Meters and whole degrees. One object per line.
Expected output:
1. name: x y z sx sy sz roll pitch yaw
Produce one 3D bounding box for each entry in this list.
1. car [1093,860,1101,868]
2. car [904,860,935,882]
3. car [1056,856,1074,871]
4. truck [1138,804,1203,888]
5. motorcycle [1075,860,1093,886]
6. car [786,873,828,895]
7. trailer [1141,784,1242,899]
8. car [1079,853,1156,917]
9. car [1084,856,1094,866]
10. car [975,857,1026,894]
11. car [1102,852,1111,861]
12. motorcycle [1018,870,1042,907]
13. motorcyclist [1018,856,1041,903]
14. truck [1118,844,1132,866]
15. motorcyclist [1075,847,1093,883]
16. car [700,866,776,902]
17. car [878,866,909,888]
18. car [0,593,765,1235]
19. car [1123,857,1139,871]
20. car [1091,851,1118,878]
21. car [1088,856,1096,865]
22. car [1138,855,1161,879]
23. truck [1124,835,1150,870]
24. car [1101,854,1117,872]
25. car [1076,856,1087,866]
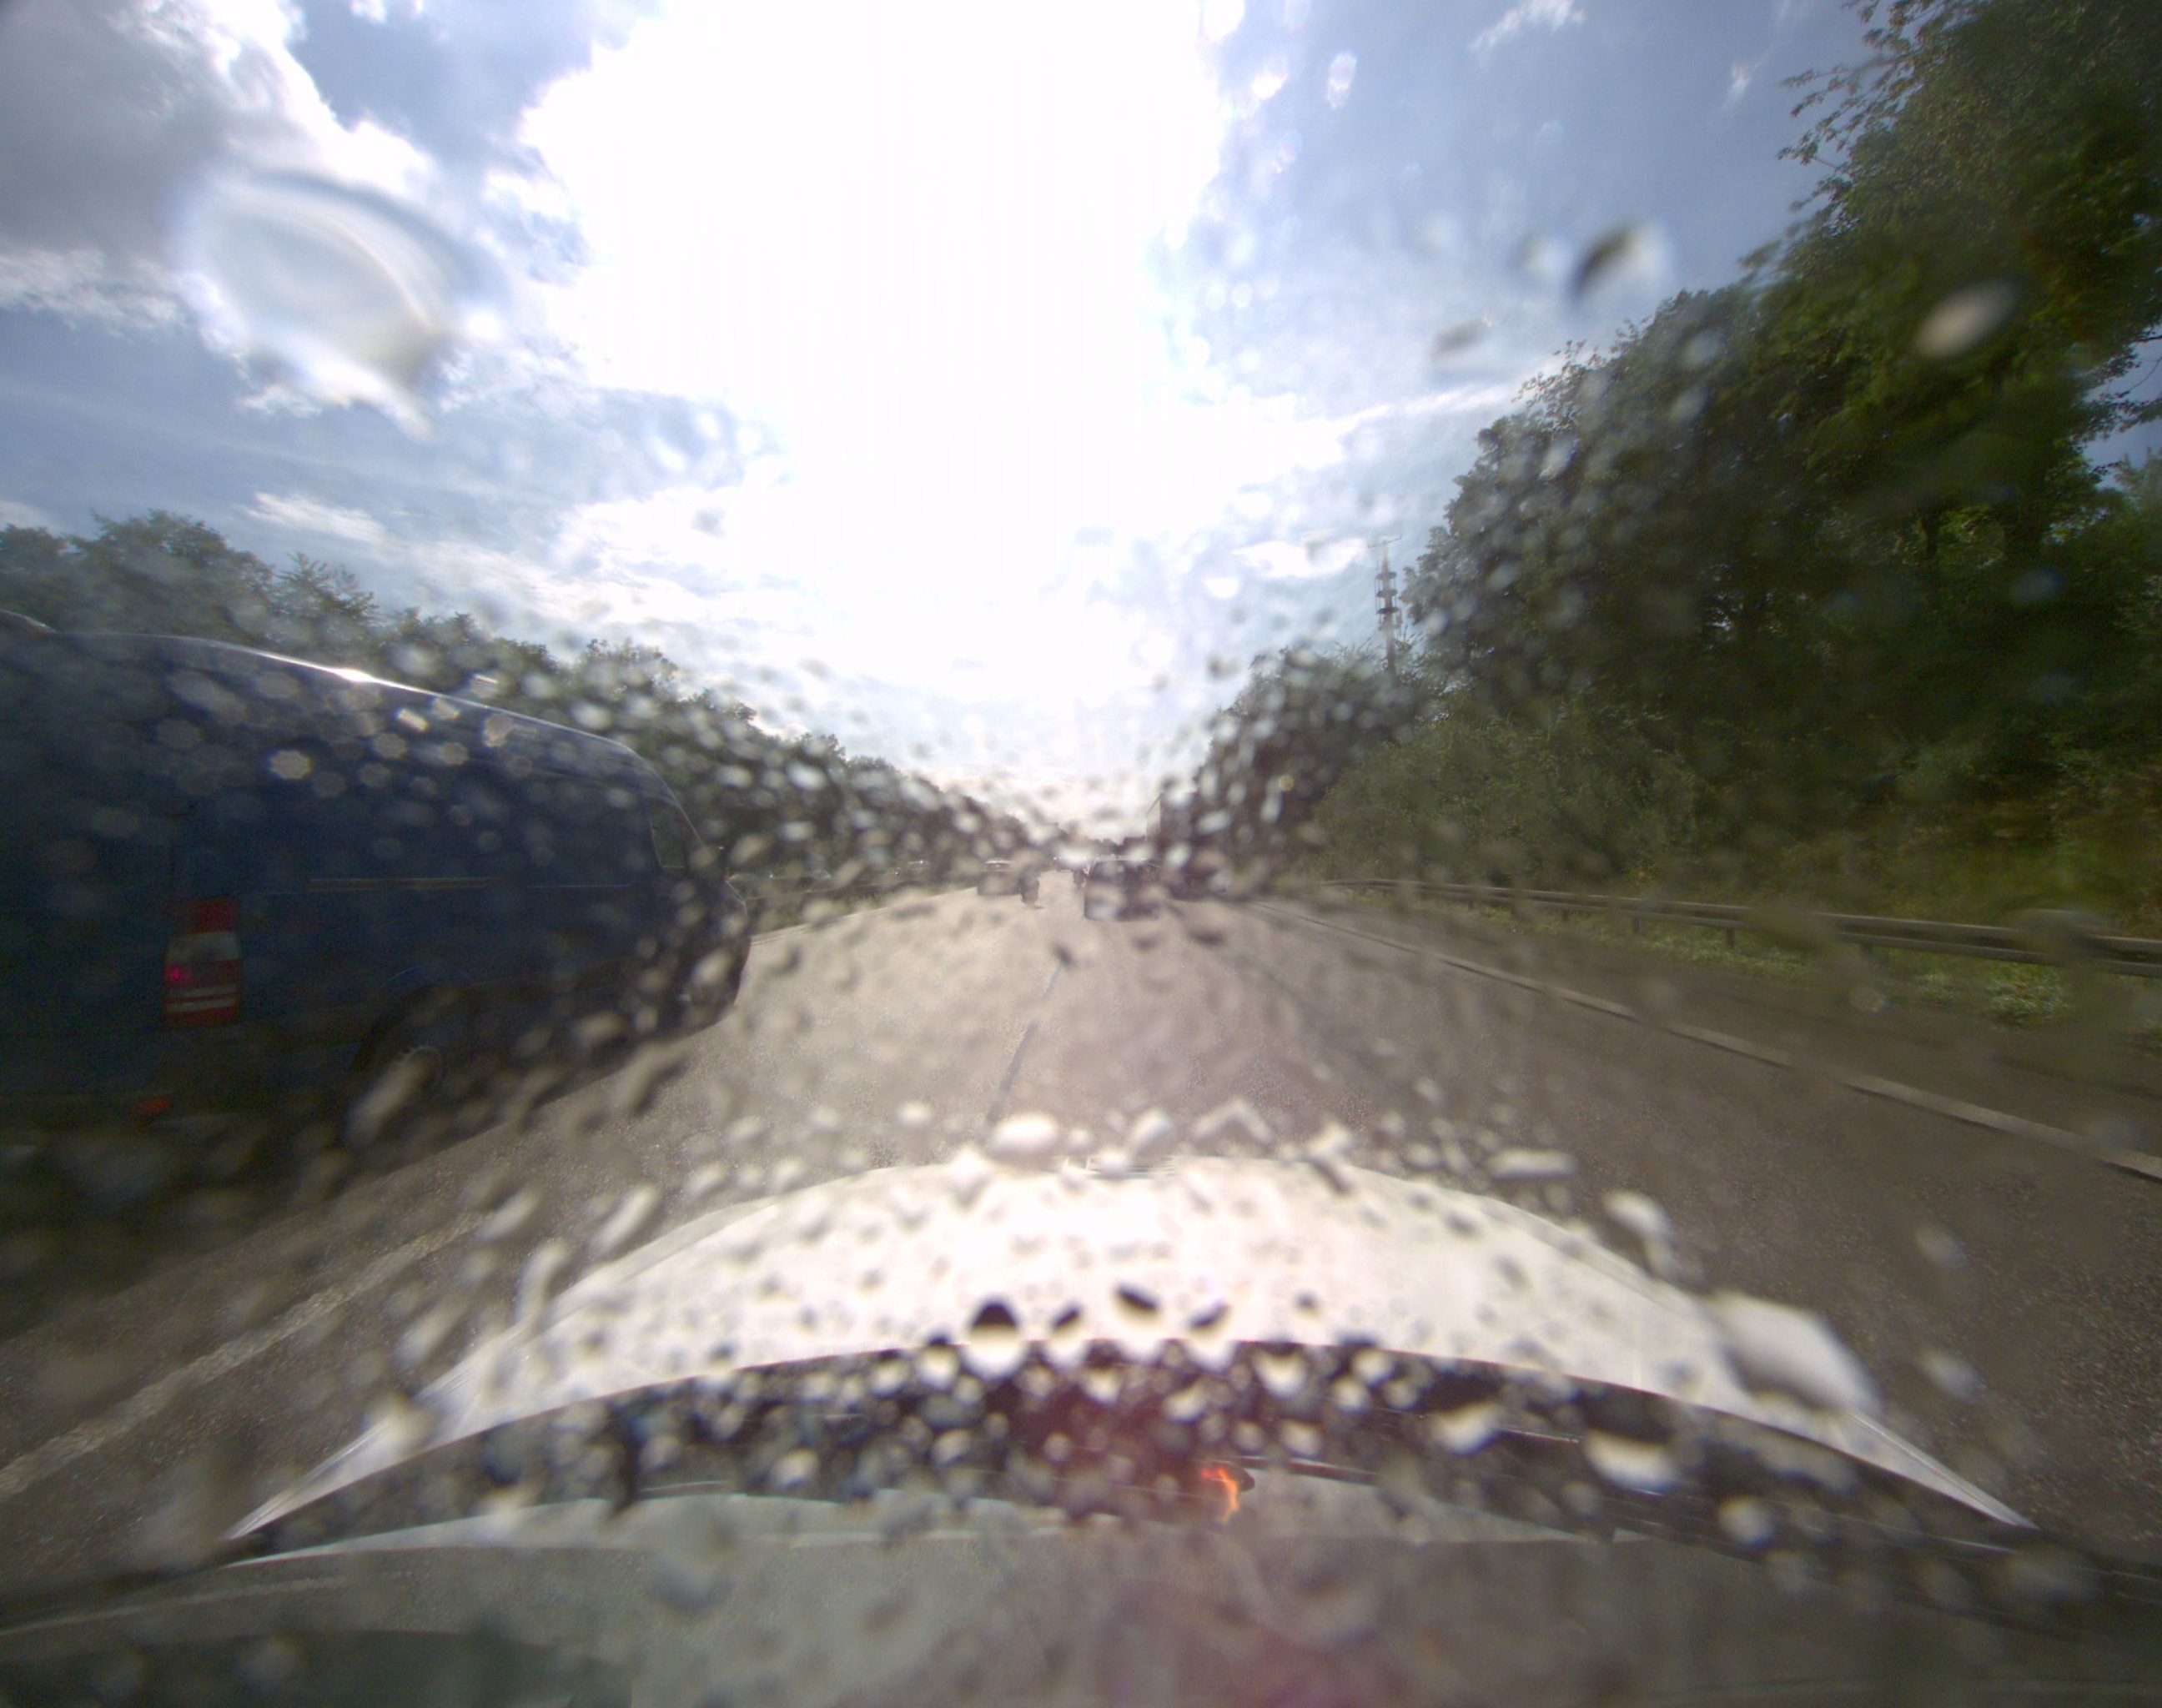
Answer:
1. car: 4.189 2.597 217.070 1.986 2.014 4.001 -1 -1 1
2. car: -15.294 1.589 77.316 1.917 1.911 4.290 -2 0 2
3. car: -1.836 1.089 93.551 1.886 1.628 4.196 -1 0 1
4. truck: 4.852 -0.373 45.089 3.041 4.325 5.887 -1 -1 1
5. motorcycle: 0.156 0.948 41.728 0.816 1.263 2.119 -1 0 3
6. car: -20.003 2.186 59.646 1.625 1.482 3.787 -1 0 2
7. trailer: 4.684 -0.425 37.830 3.077 4.312 14.108 -1 0 1
8. car: 0.975 0.790 22.642 1.908 1.565 4.315 -1 0 1
9. car: 1.730 1.546 177.269 1.986 2.014 4.001 -1 -1 1
10. car: -3.616 0.943 37.196 1.752 1.595 4.332 -1 0 1
11. car: 4.520 0.470 143.849 1.626 1.490 3.437 -1 0 1
12. motorcycle: -1.625 1.085 26.027 0.674 1.087 1.980 0 0 -1
13. motorcyclist: -1.630 0.801 25.997 0.668 1.442 1.019 -1 -1 -2
14. truck: 9.819 0.231 184.453 2.871 4.688 12.662 -1 -1 2
15. motorcyclist: 0.149 0.562 41.772 0.818 1.761 1.391 -1 -1 3
16. car: -16.847 1.453 40.212 1.915 1.580 4.001 -2 0 1
17. car: -18.920 2.306 82.278 1.986 2.013 4.002 -1 0 2
18. car: -4.643 0.270 6.267 2.008 2.648 5.778 -1 0 1
19. car: 5.686 1.135 92.365 1.669 1.490 3.437 -1 0 1
20. car: 1.829 0.829 63.950 1.986 2.014 4.000 -1 -1 1
21. car: 2.724 1.604 197.575 1.986 2.014 4.001 -1 -1 1
22. car: 6.112 1.154 73.342 1.842 2.014 4.089 -1 -1 2
23. truck: 7.515 -0.175 109.992 3.190 4.404 9.437 -1 0 2
24. car: 2.990 0.963 87.719 1.669 1.936 3.774 -1 0 1
25. car: 0.119 1.089 126.311 1.669 1.597 3.437 -1 0 1
